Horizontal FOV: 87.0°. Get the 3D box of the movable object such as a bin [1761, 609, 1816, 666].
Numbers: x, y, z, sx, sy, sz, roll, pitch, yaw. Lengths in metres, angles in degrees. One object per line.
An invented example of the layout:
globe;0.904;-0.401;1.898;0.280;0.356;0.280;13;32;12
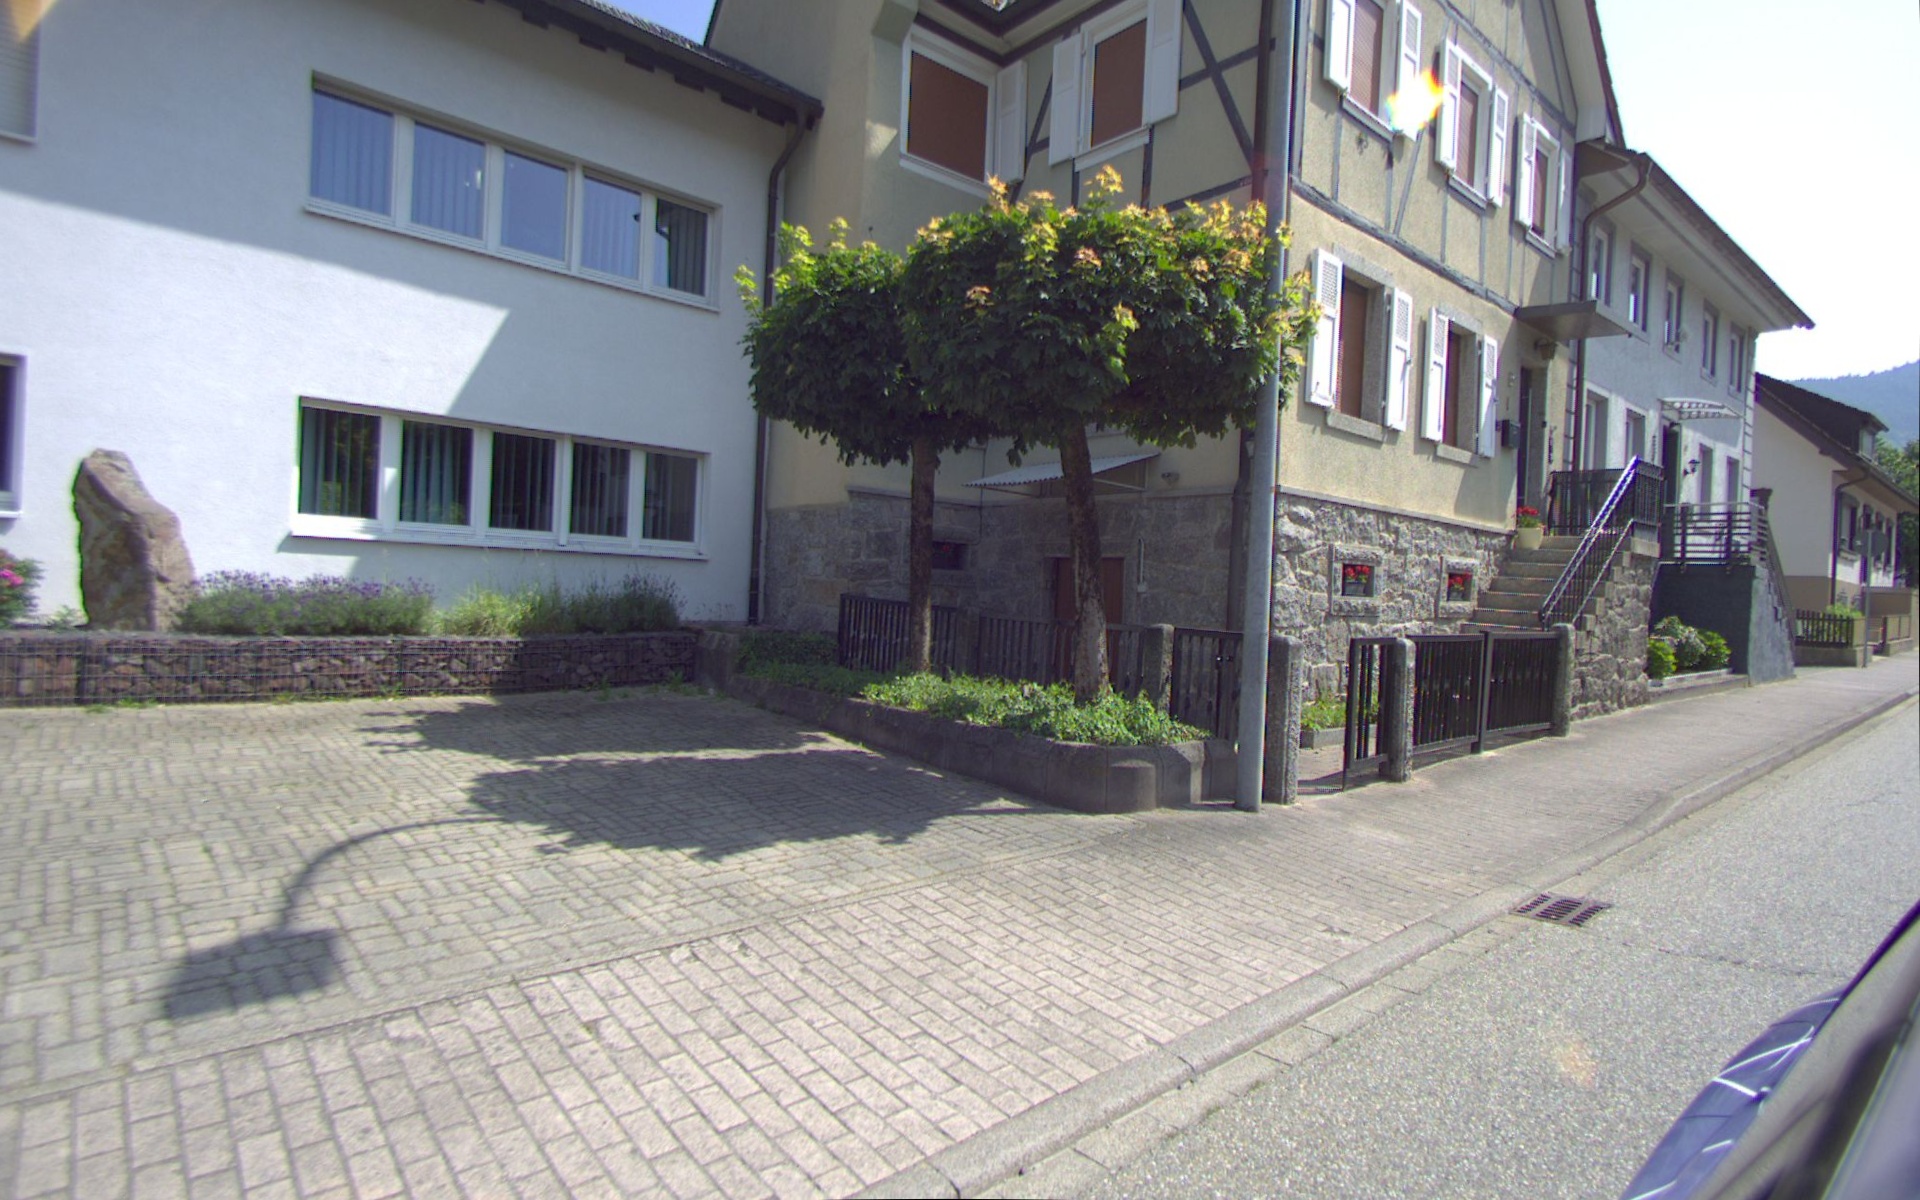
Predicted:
movable object such as a bin;16.044;0.709;19.597;0.607;1.033;0.706;0;2;-40
